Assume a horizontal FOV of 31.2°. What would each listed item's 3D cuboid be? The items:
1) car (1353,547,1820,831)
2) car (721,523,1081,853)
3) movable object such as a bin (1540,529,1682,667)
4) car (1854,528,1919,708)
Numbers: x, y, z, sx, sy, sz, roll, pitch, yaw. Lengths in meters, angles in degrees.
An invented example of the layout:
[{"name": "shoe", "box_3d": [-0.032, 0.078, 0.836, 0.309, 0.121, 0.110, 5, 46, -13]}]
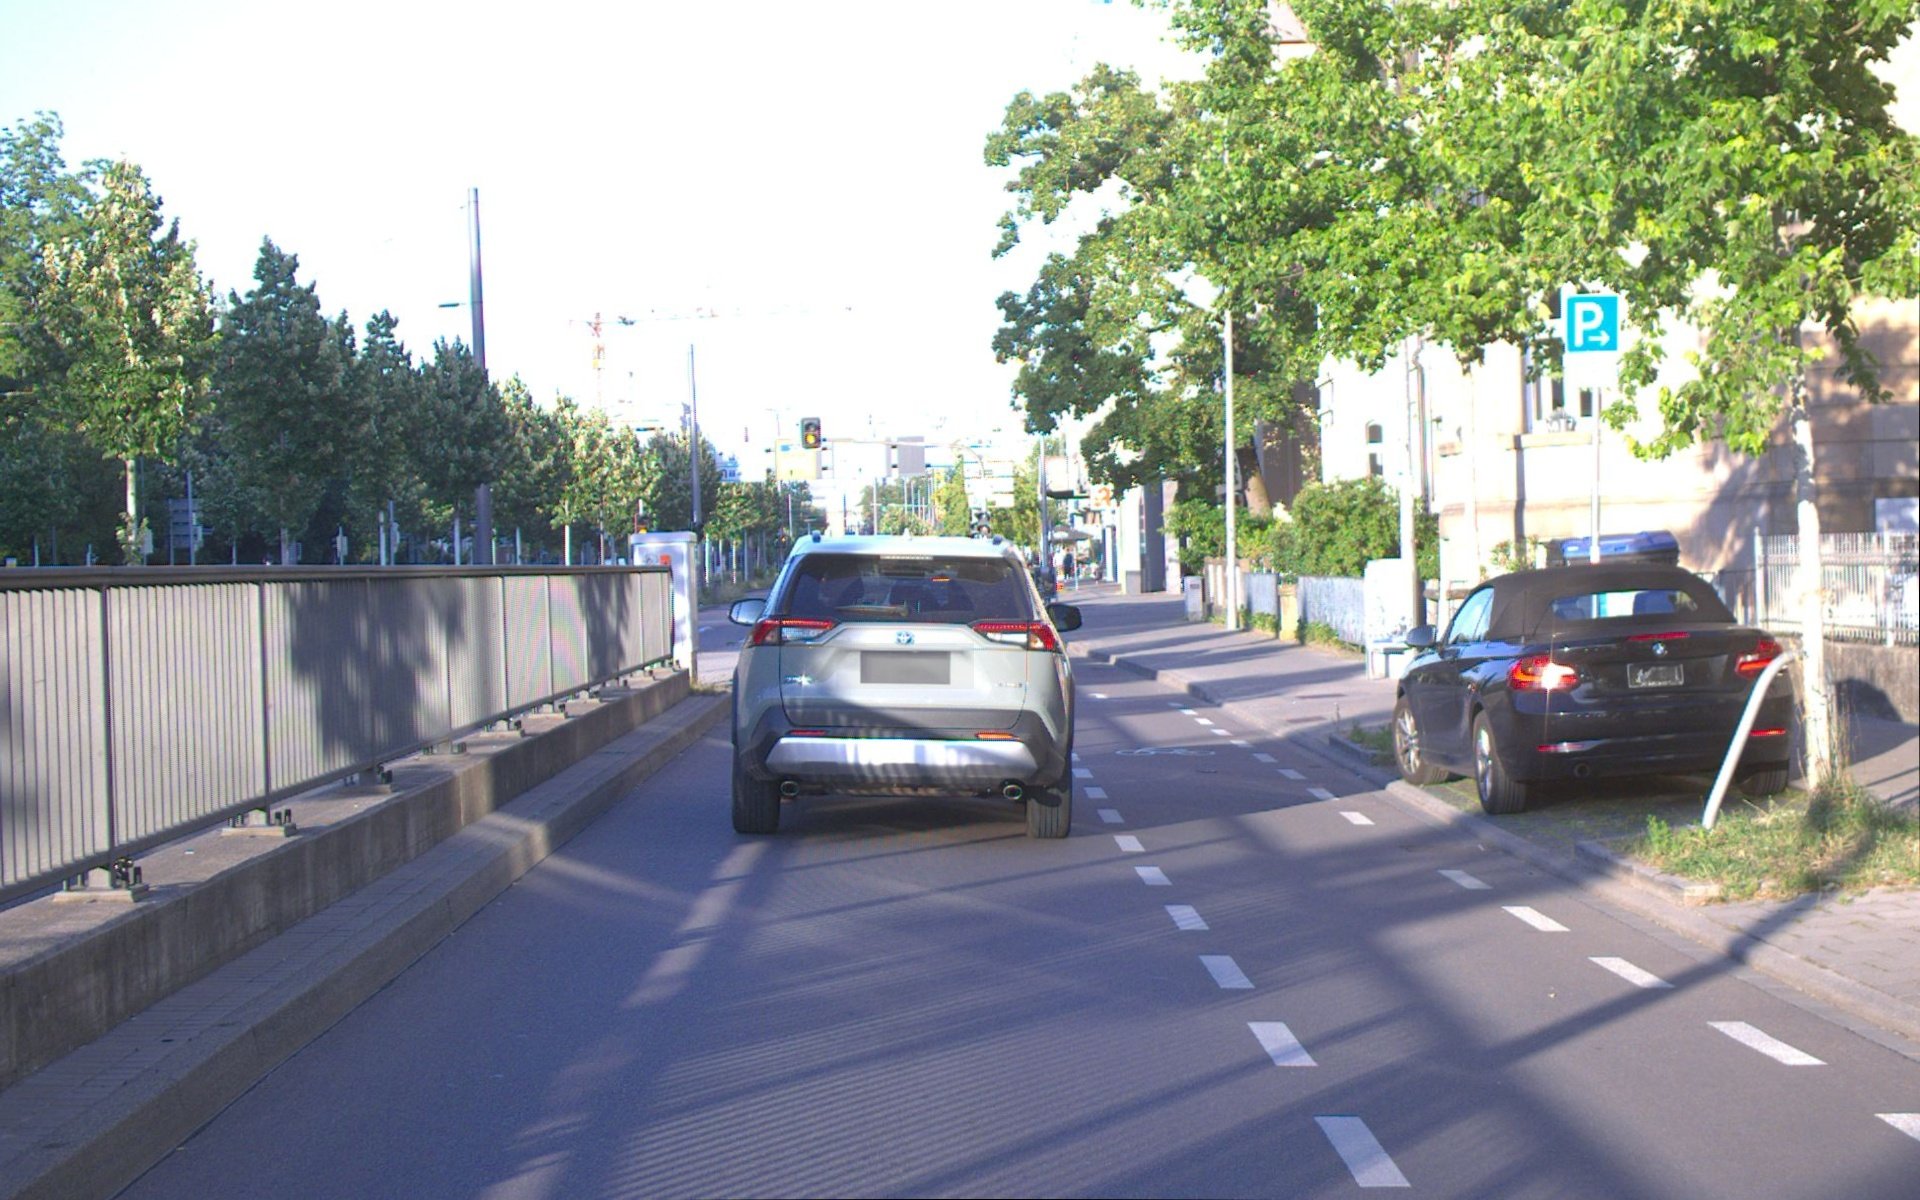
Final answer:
[{"name": "car", "box_3d": [3.771, 0.465, 21.496, 1.792, 1.466, 4.446, -4, 1, -3]}, {"name": "car", "box_3d": [-0.386, 0.436, 19.988, 1.857, 1.708, 4.193, 1, 1, -2]}, {"name": "movable object such as a bin", "box_3d": [7.046, -0.032, 37.278, 1.260, 1.457, 1.124, -1, 1, -3]}, {"name": "car", "box_3d": [10.464, 0.060, 31.153, 4.195, 1.565, 1.916, -2, 1, 2]}]
